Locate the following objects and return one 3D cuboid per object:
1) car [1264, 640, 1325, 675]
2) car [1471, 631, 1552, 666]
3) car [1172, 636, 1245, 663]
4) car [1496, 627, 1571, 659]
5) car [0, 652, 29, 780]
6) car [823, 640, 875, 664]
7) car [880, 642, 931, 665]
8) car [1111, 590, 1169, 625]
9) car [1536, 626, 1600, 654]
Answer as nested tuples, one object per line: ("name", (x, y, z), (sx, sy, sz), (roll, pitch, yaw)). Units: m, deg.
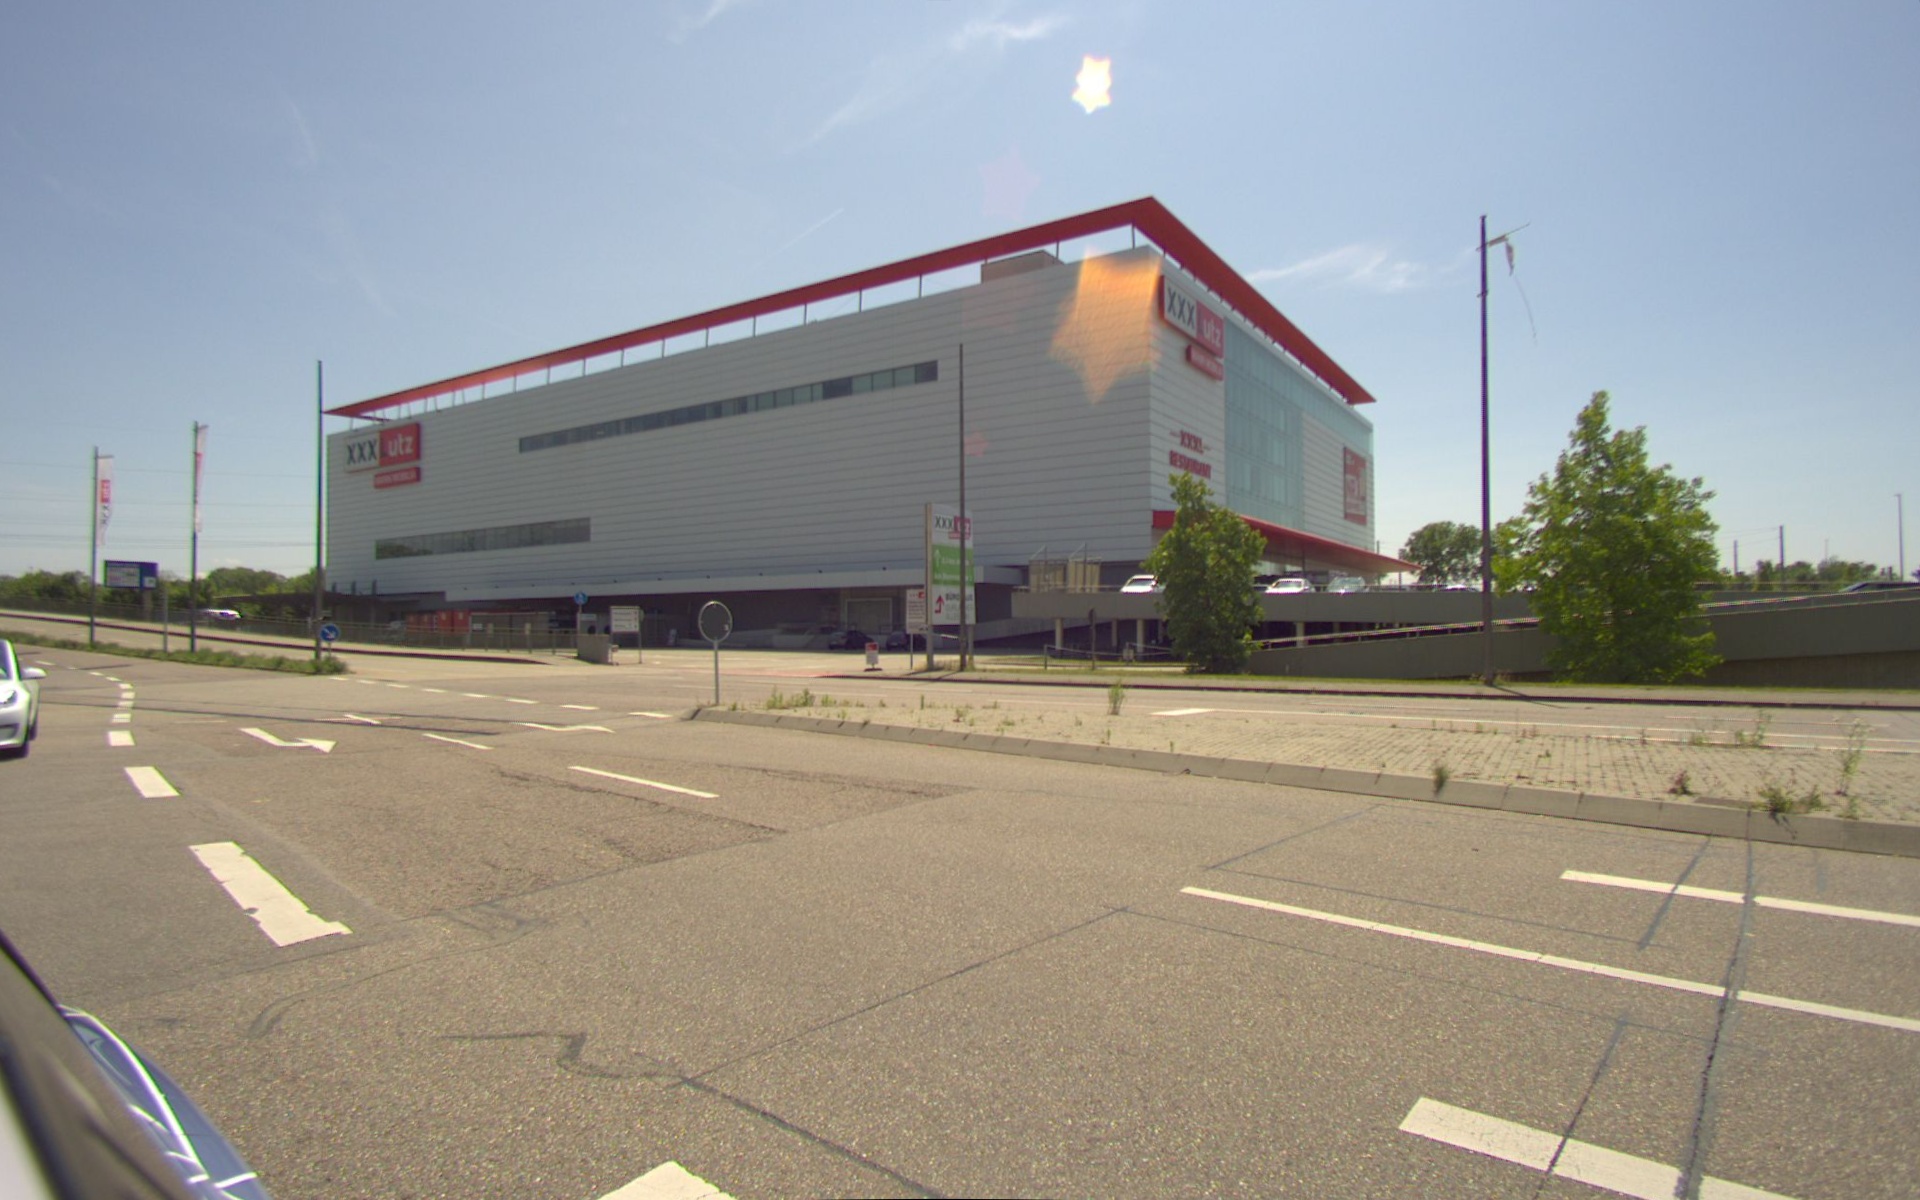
("car", (16.758, 2.830, 50.623), (1.994, 1.651, 3.956), (-1, -2, 32))
("car", (33.299, 2.932, 61.169), (3.995, 2.029, 1.974), (-2, -3, 39))
("car", (16.580, 3.284, 67.531), (4.395, 1.701, 1.981), (-1, -2, 28))
("car", (37.355, 2.809, 65.938), (3.993, 2.029, 1.975), (-2, -3, 37))
("car", (-12.882, 1.367, 12.385), (4.406, 1.436, 1.854), (-3, -4, 43))
("car", (-7.980, 3.718, 72.901), (1.905, 1.632, 3.709), (-1, -2, 31))
("car", (-3.755, 3.695, 70.285), (1.953, 1.507, 3.446), (-1, -2, 33))
("car", (9.135, 0.404, 51.096), (1.703, 1.709, 3.443), (-1, -2, 33))
("car", (46.069, 3.024, 76.703), (3.991, 2.029, 1.976), (-2, -2, 35))
